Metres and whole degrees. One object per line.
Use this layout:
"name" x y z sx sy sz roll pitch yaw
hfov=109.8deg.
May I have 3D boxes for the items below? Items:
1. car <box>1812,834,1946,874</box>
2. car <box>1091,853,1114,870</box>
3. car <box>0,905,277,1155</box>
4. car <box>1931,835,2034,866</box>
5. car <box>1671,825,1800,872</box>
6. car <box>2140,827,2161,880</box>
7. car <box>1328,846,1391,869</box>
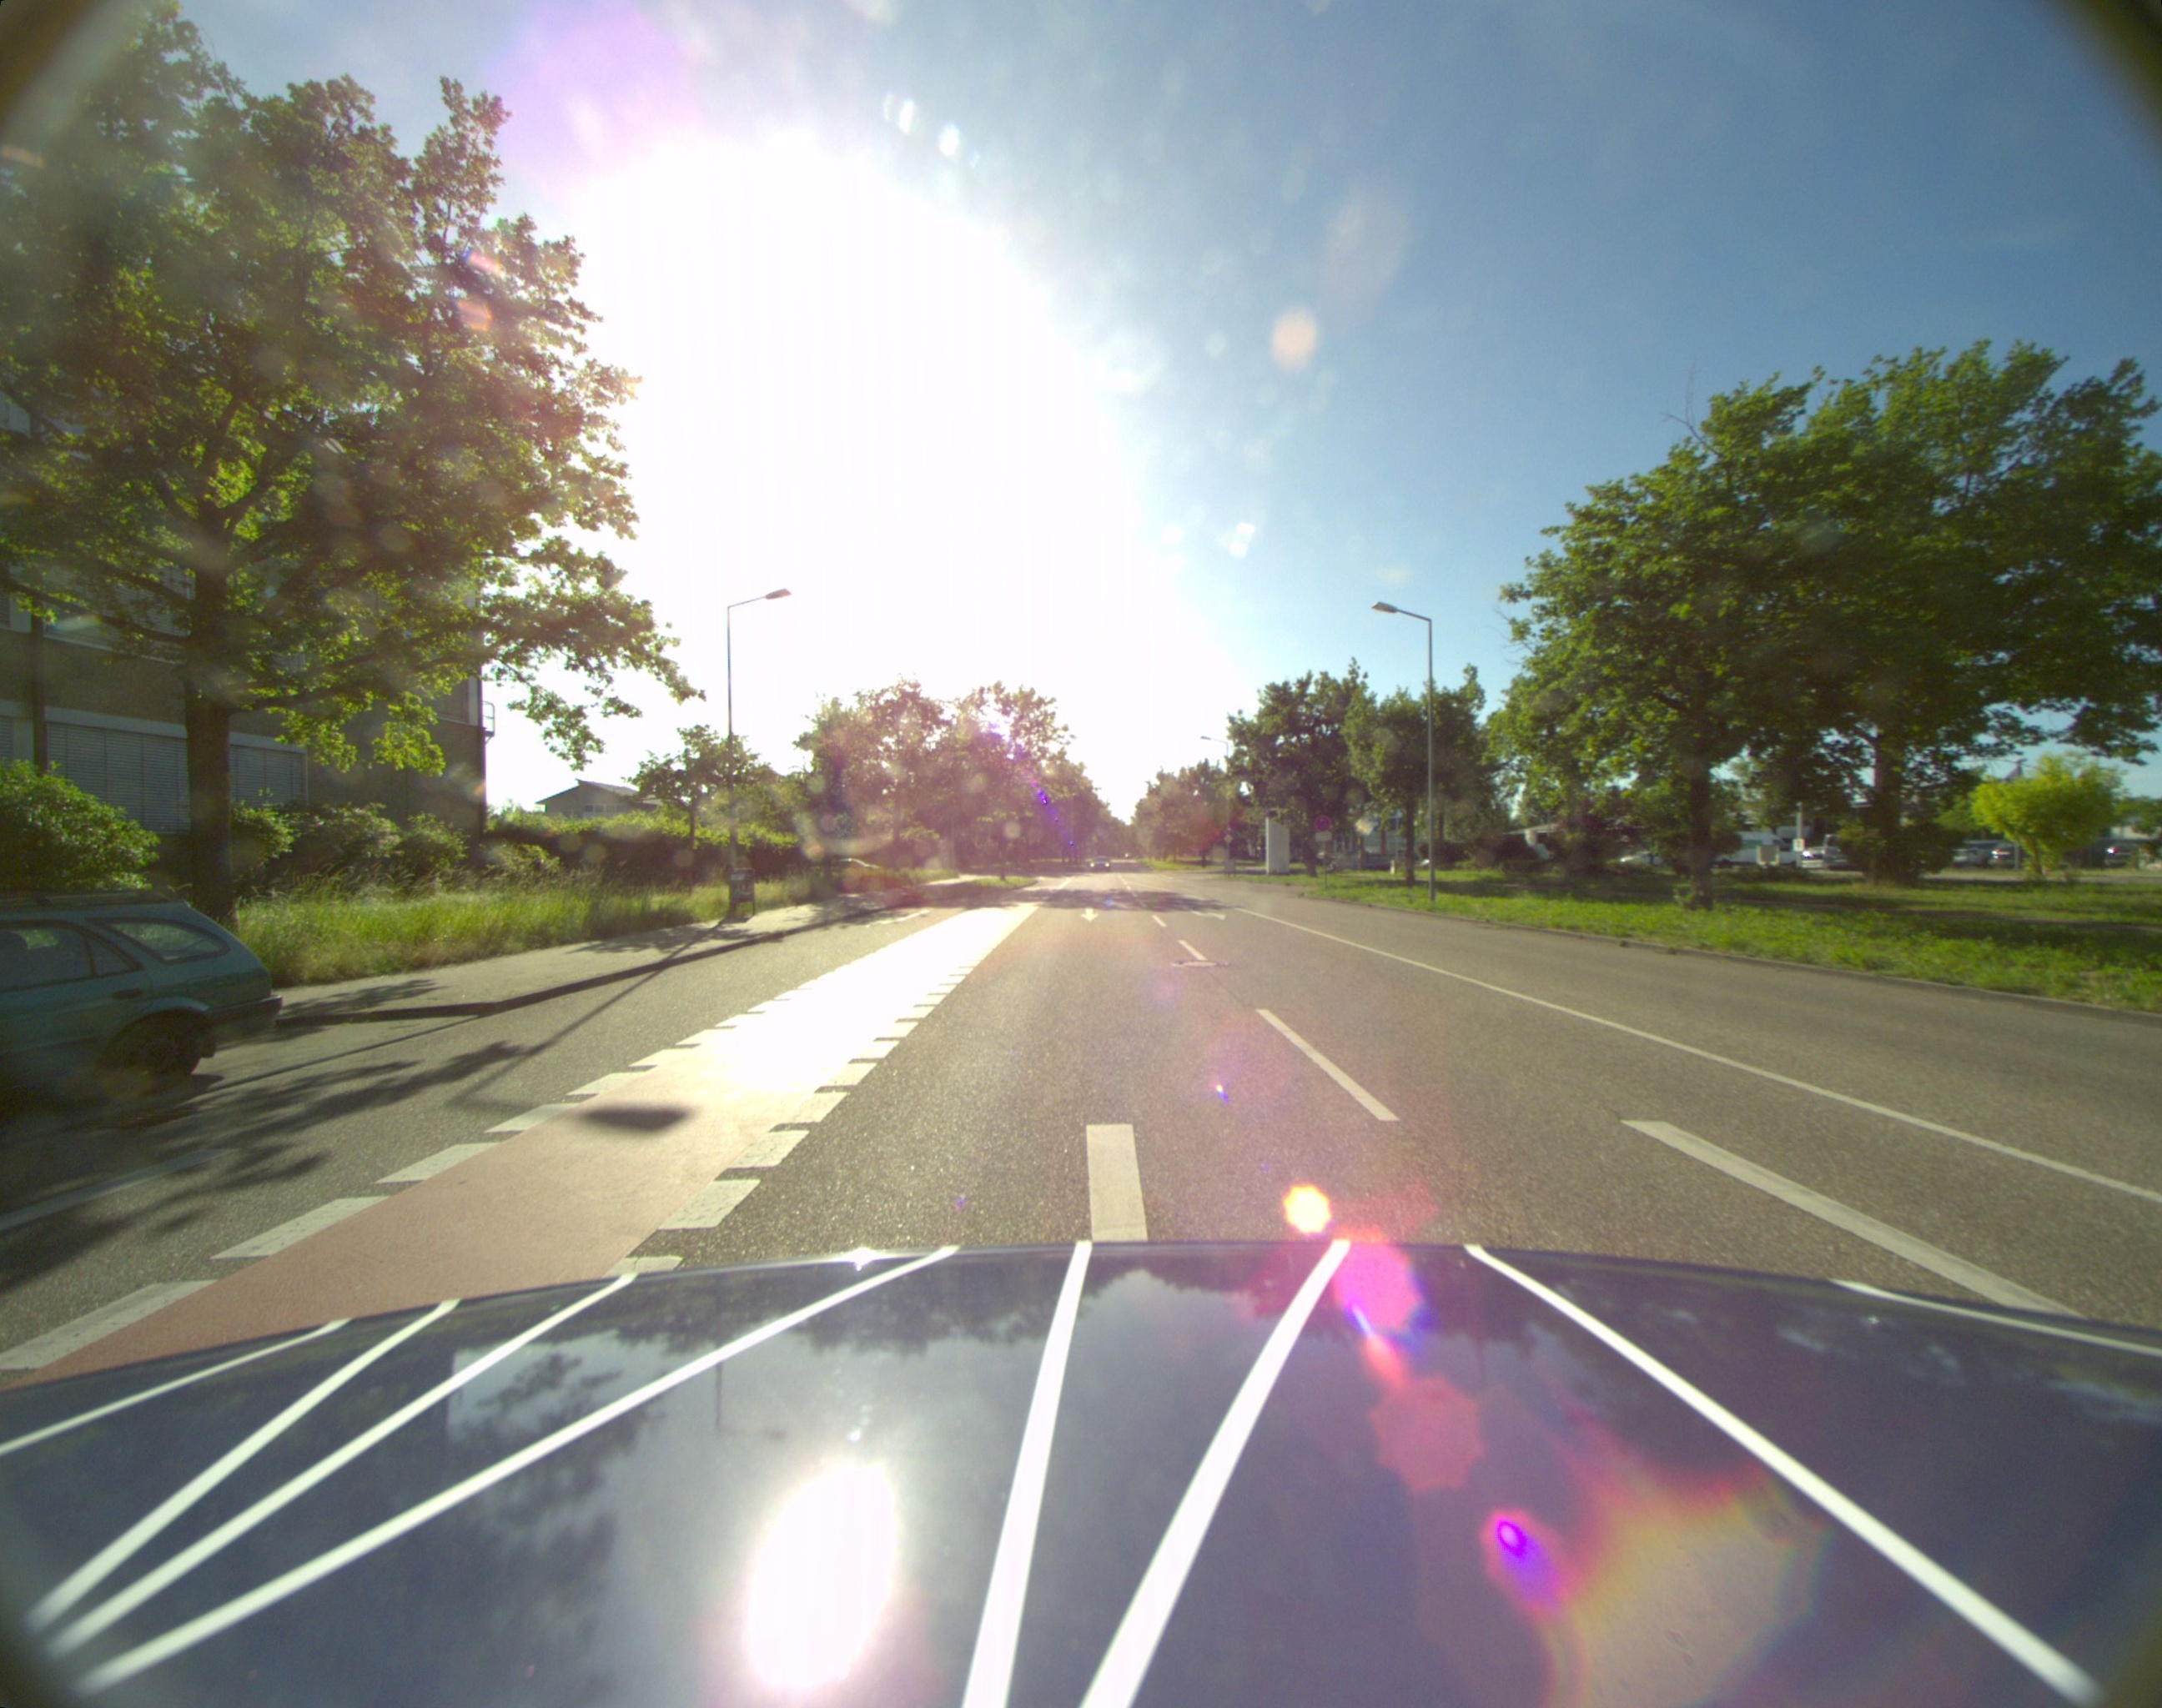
"car" 40.052 -0.005 38.224 4.642 1.771 1.990 -2 1 0
"car" 1.930 0.663 68.620 1.652 1.460 3.943 -2 0 7
"car" -7.532 1.129 4.220 1.706 1.460 4.141 -1 -1 0
"car" 52.079 -0.206 43.964 3.860 1.661 1.762 -2 1 0
"car" 39.890 -0.339 46.401 6.023 2.540 2.409 -2 1 -4
"car" 33.880 -0.085 22.042 3.817 1.562 1.736 -2 -1 0
"car" 23.918 0.292 65.372 4.637 1.822 2.000 -2 1 0
